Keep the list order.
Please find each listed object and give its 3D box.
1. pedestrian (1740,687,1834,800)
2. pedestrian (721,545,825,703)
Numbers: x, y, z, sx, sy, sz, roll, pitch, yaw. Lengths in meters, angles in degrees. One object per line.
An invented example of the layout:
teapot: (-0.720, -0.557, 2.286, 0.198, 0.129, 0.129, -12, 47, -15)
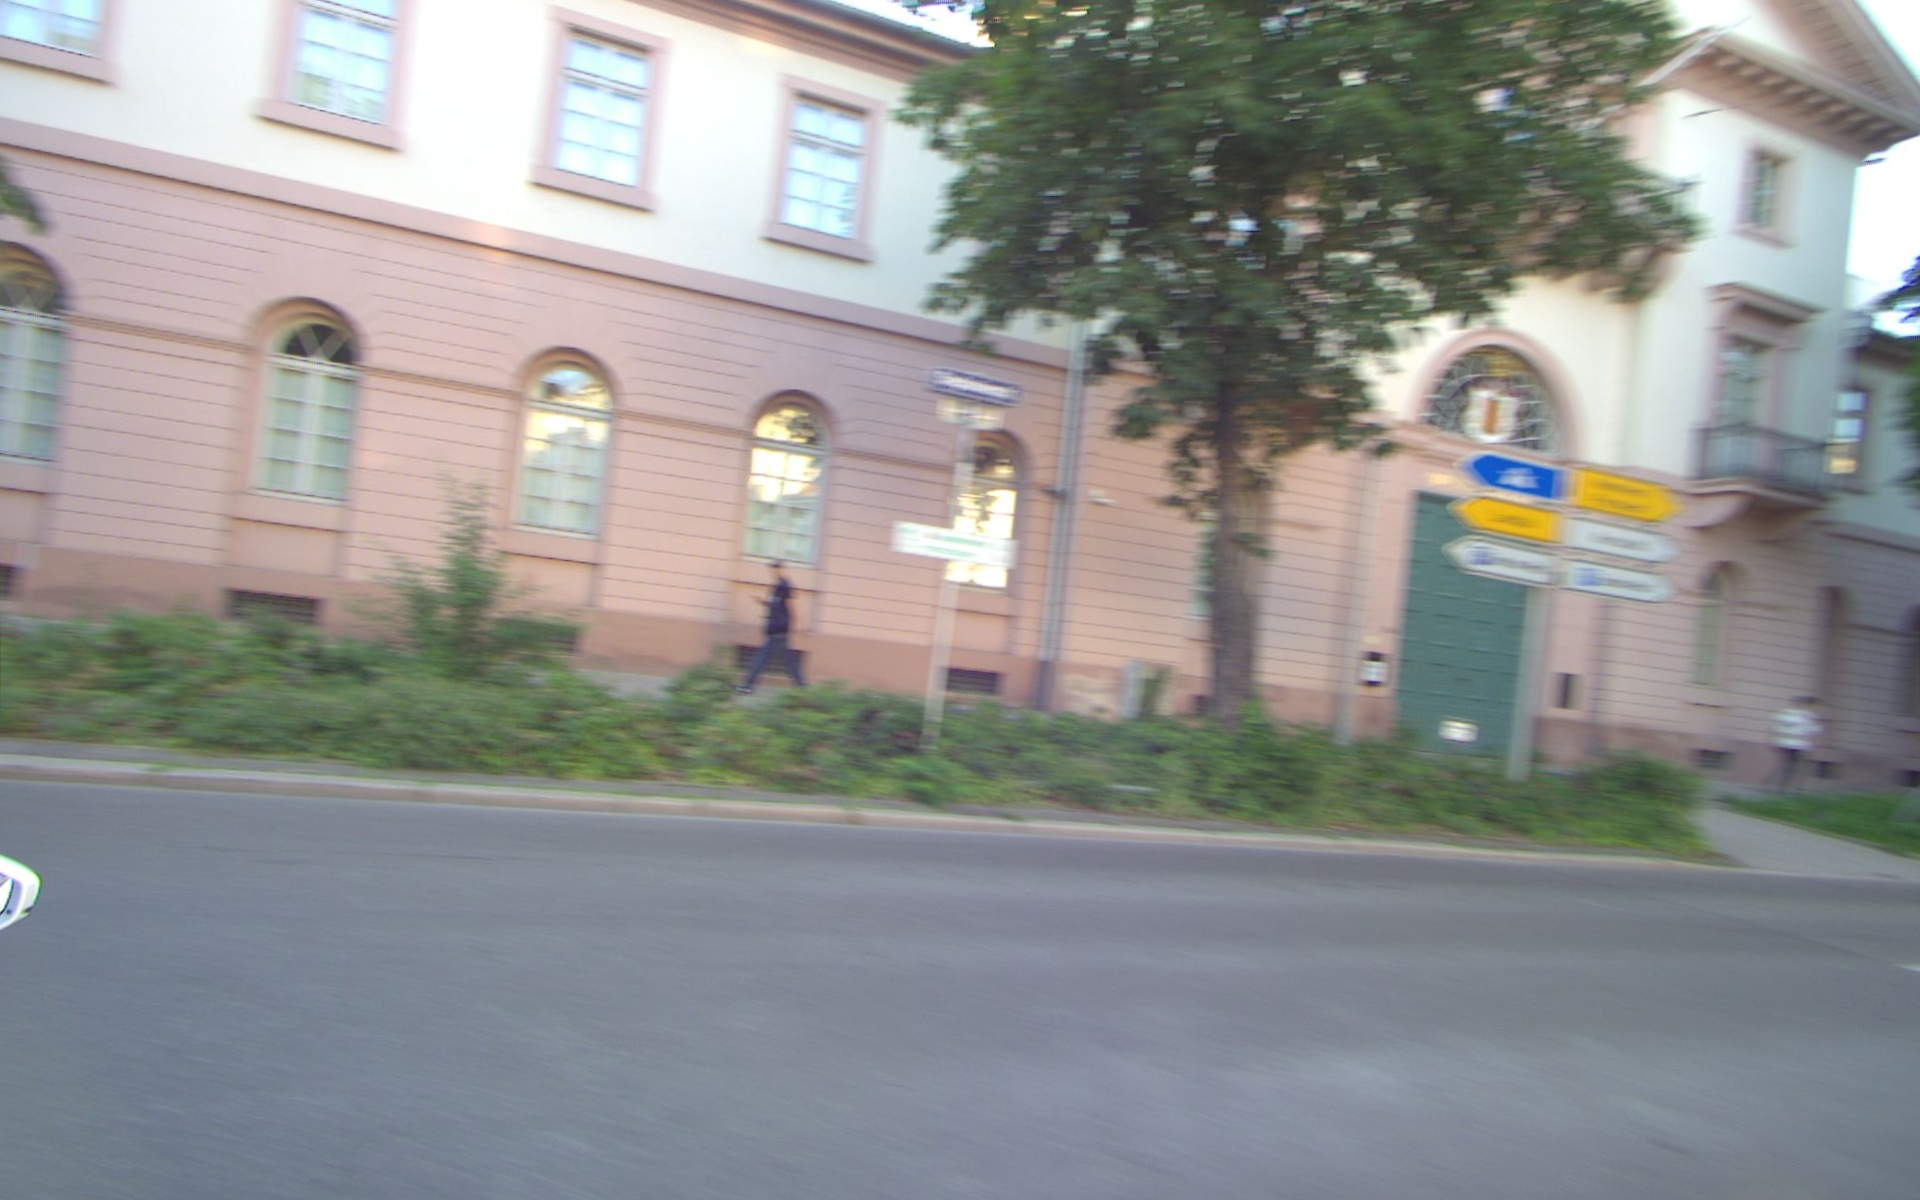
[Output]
pedestrian: (14.804, 2.558, 18.019, 0.916, 1.854, 0.797, 7, 0, -20)
pedestrian: (-2.427, 0.310, 12.991, 1.066, 1.861, 0.798, 7, 0, -15)
